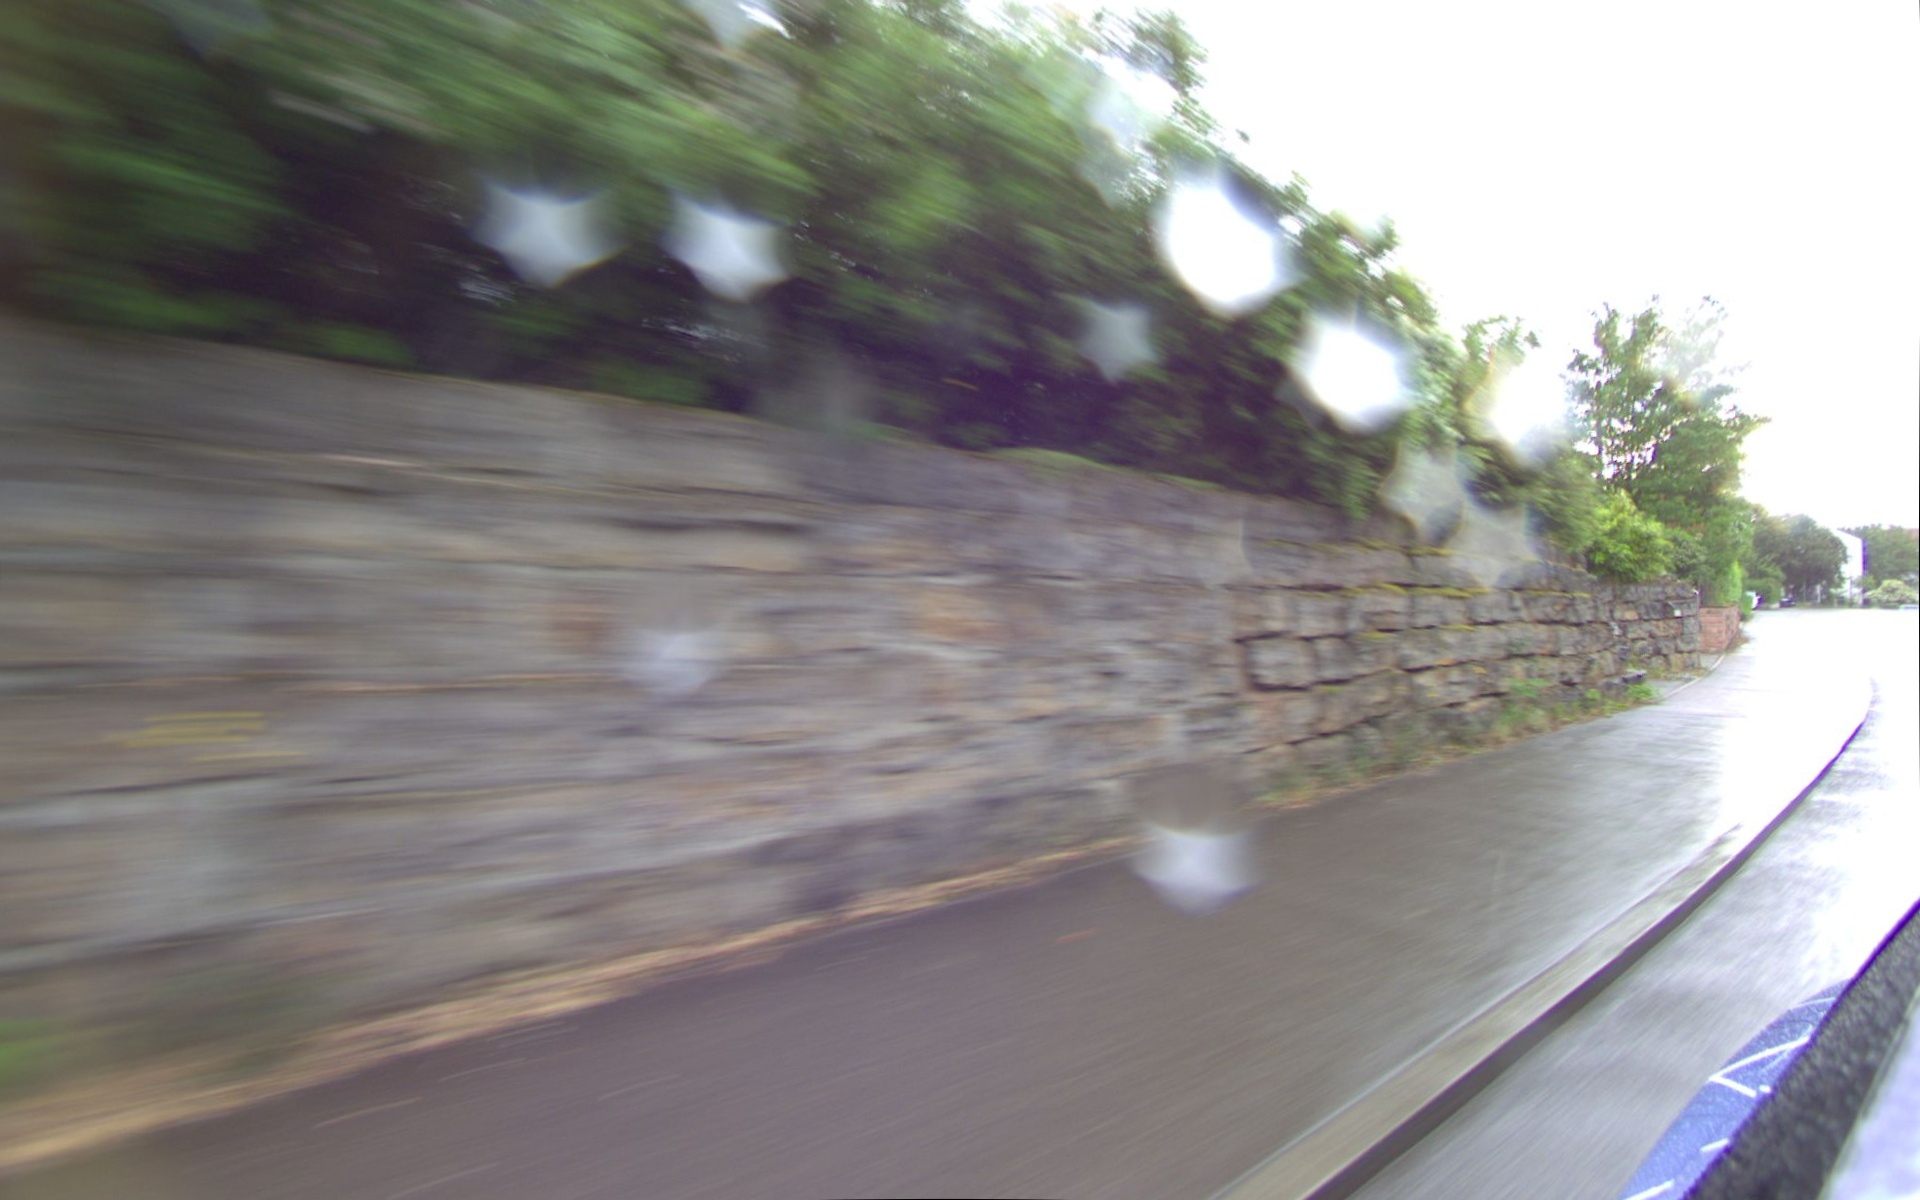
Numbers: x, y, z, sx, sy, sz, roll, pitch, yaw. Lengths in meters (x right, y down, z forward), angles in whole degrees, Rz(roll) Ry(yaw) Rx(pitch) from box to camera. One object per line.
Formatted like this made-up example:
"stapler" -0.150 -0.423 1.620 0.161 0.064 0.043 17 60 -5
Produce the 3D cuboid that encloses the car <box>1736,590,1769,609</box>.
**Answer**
"car" 65.564 -0.060 83.673 1.991 1.473 3.941 0 1 41

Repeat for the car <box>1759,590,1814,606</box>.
"car" 77.914 -0.221 95.431 3.985 1.473 1.969 0 1 43
